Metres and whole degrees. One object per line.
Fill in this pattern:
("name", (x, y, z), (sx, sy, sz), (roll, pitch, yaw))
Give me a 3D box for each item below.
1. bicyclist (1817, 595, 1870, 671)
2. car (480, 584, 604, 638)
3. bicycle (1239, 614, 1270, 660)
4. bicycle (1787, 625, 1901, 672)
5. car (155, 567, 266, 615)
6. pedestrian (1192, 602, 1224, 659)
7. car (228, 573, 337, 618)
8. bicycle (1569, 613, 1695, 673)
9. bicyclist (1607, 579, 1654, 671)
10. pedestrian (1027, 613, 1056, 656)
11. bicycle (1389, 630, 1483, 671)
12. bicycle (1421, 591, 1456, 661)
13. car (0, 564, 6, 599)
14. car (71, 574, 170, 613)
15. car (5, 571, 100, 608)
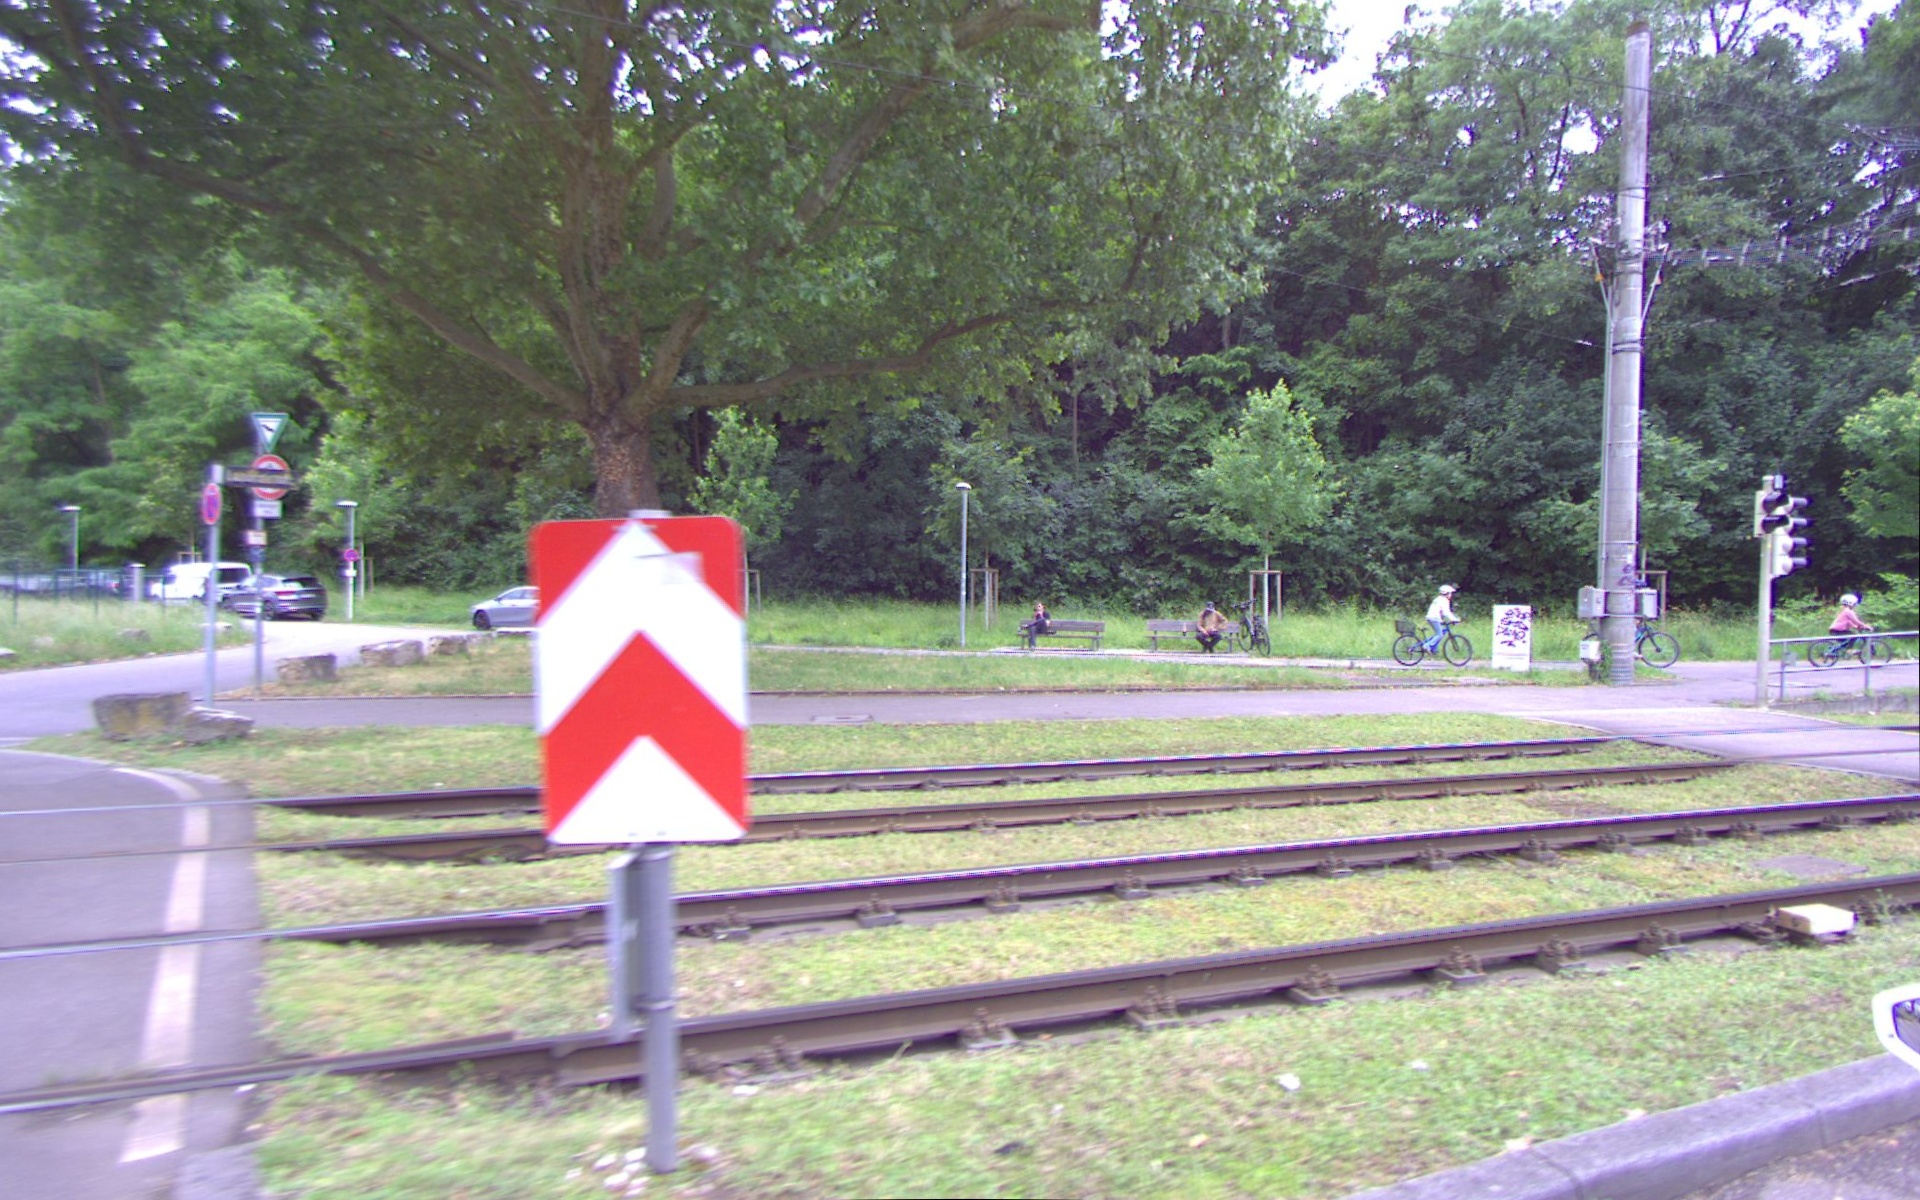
("bicyclist", (15.919, 0.586, 18.107), (0.569, 1.319, 0.455), (-2, 3, 10))
("car", (-13.056, 0.314, 31.372), (3.437, 1.443, 1.699), (3, 3, 25))
("bicycle", (6.766, 0.830, 23.036), (0.610, 0.897, 1.746), (2, 3, 18))
("bicycle", (15.927, 0.876, 18.123), (1.527, 0.749, 0.455), (-3, 3, 10))
("car", (-28.545, -0.382, 38.254), (3.611, 1.635, 1.908), (3, 3, 25))
("pedestrian", (5.711, 0.699, 23.170), (0.659, 1.252, 0.580), (2, 3, 12))
("car", (-24.135, -0.198, 35.787), (3.437, 1.443, 1.699), (3, 3, 25))
("bicycle", (12.690, 0.794, 19.017), (1.907, 1.055, 0.475), (0, 3, 22))
("bicyclist", (12.679, 0.469, 19.008), (0.611, 1.697, 0.475), (0, 3, 22))
("pedestrian", (1.989, 0.830, 24.433), (0.607, 1.003, 0.532), (2, 3, 13))
("bicycle", (9.393, 0.990, 19.874), (1.619, 0.749, 0.455), (-1, 3, 7))
("bicycle", (9.451, 0.508, 19.839), (0.505, 1.348, 0.455), (-1, 3, 7))
("car", (-46.559, -0.913, 46.748), (3.610, 1.635, 1.756), (3, 3, 22))
("car", (-34.319, -0.310, 41.063), (3.611, 1.396, 1.756), (3, 3, 25))
("car", (-39.018, -0.486, 43.206), (3.611, 1.396, 1.756), (3, 3, 25))
